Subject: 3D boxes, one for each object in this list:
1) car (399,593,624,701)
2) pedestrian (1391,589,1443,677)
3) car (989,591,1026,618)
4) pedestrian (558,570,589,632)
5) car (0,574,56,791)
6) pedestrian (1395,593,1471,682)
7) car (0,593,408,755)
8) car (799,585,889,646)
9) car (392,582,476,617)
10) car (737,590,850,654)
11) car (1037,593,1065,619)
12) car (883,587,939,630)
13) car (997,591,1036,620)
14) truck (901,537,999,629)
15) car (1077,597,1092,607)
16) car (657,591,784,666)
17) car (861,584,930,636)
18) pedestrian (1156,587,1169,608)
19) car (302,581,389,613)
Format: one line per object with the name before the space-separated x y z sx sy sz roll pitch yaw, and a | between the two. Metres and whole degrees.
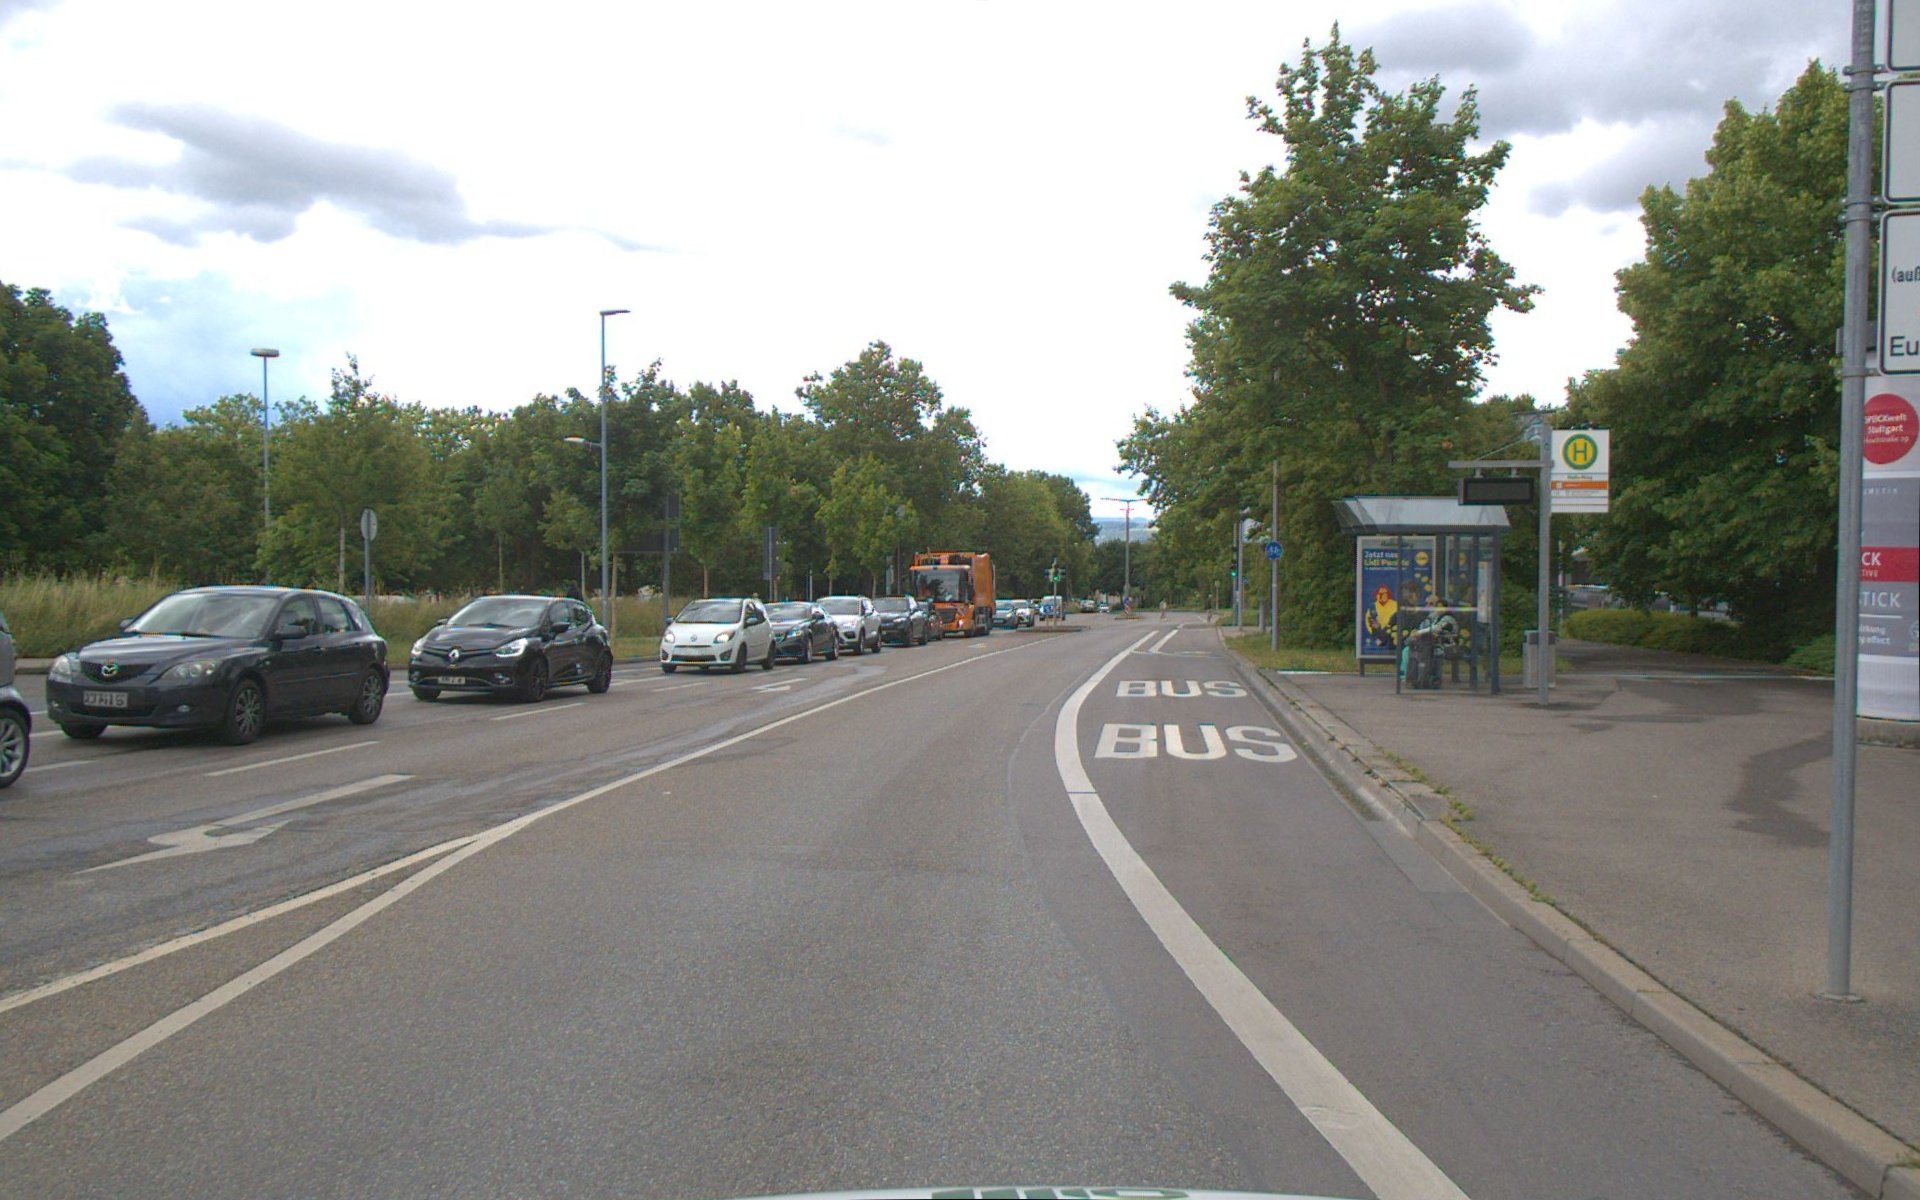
car | -6.181 0.592 23.264 1.604 1.355 4.064 0 0 7
pedestrian | 7.116 0.509 25.777 0.712 1.339 0.589 1 0 10
car | 2.501 0.231 86.366 1.514 1.354 3.656 -2 0 7
pedestrian | -11.747 0.036 50.278 0.705 1.868 0.678 0 0 8
car | -7.628 0.594 11.126 1.398 1.553 2.777 0 0 5
pedestrian | 6.970 0.548 24.389 0.767 1.274 0.763 1 0 -34
car | -7.252 0.621 16.301 1.761 1.355 4.383 0 0 6
car | -3.186 0.395 46.261 1.693 1.613 4.227 0 0 7
car | -34.859 -0.024 109.691 4.862 2.229 2.001 -1 0 4
car | -3.895 0.471 39.380 1.604 1.415 4.889 0 0 7
car | 6.867 0.454 124.563 1.807 1.835 4.654 -2 0 7
car | -1.733 0.292 59.460 1.403 1.483 3.898 0 0 7
car | 3.269 0.313 94.570 1.807 1.547 4.819 -2 0 7
truck | -0.266 -0.688 68.892 2.648 3.548 10.003 0 0 8
car | 16.388 0.225 218.164 1.734 1.327 4.003 0 0 7
car | -4.802 0.539 33.646 1.604 1.415 3.765 0 0 7
car | -2.064 0.307 53.908 1.604 1.613 4.064 0 0 7
pedestrian | 14.442 -0.200 117.888 0.774 1.489 0.747 0 0 -11
car | -39.624 -0.195 106.708 4.861 2.049 2.001 0 0 5
